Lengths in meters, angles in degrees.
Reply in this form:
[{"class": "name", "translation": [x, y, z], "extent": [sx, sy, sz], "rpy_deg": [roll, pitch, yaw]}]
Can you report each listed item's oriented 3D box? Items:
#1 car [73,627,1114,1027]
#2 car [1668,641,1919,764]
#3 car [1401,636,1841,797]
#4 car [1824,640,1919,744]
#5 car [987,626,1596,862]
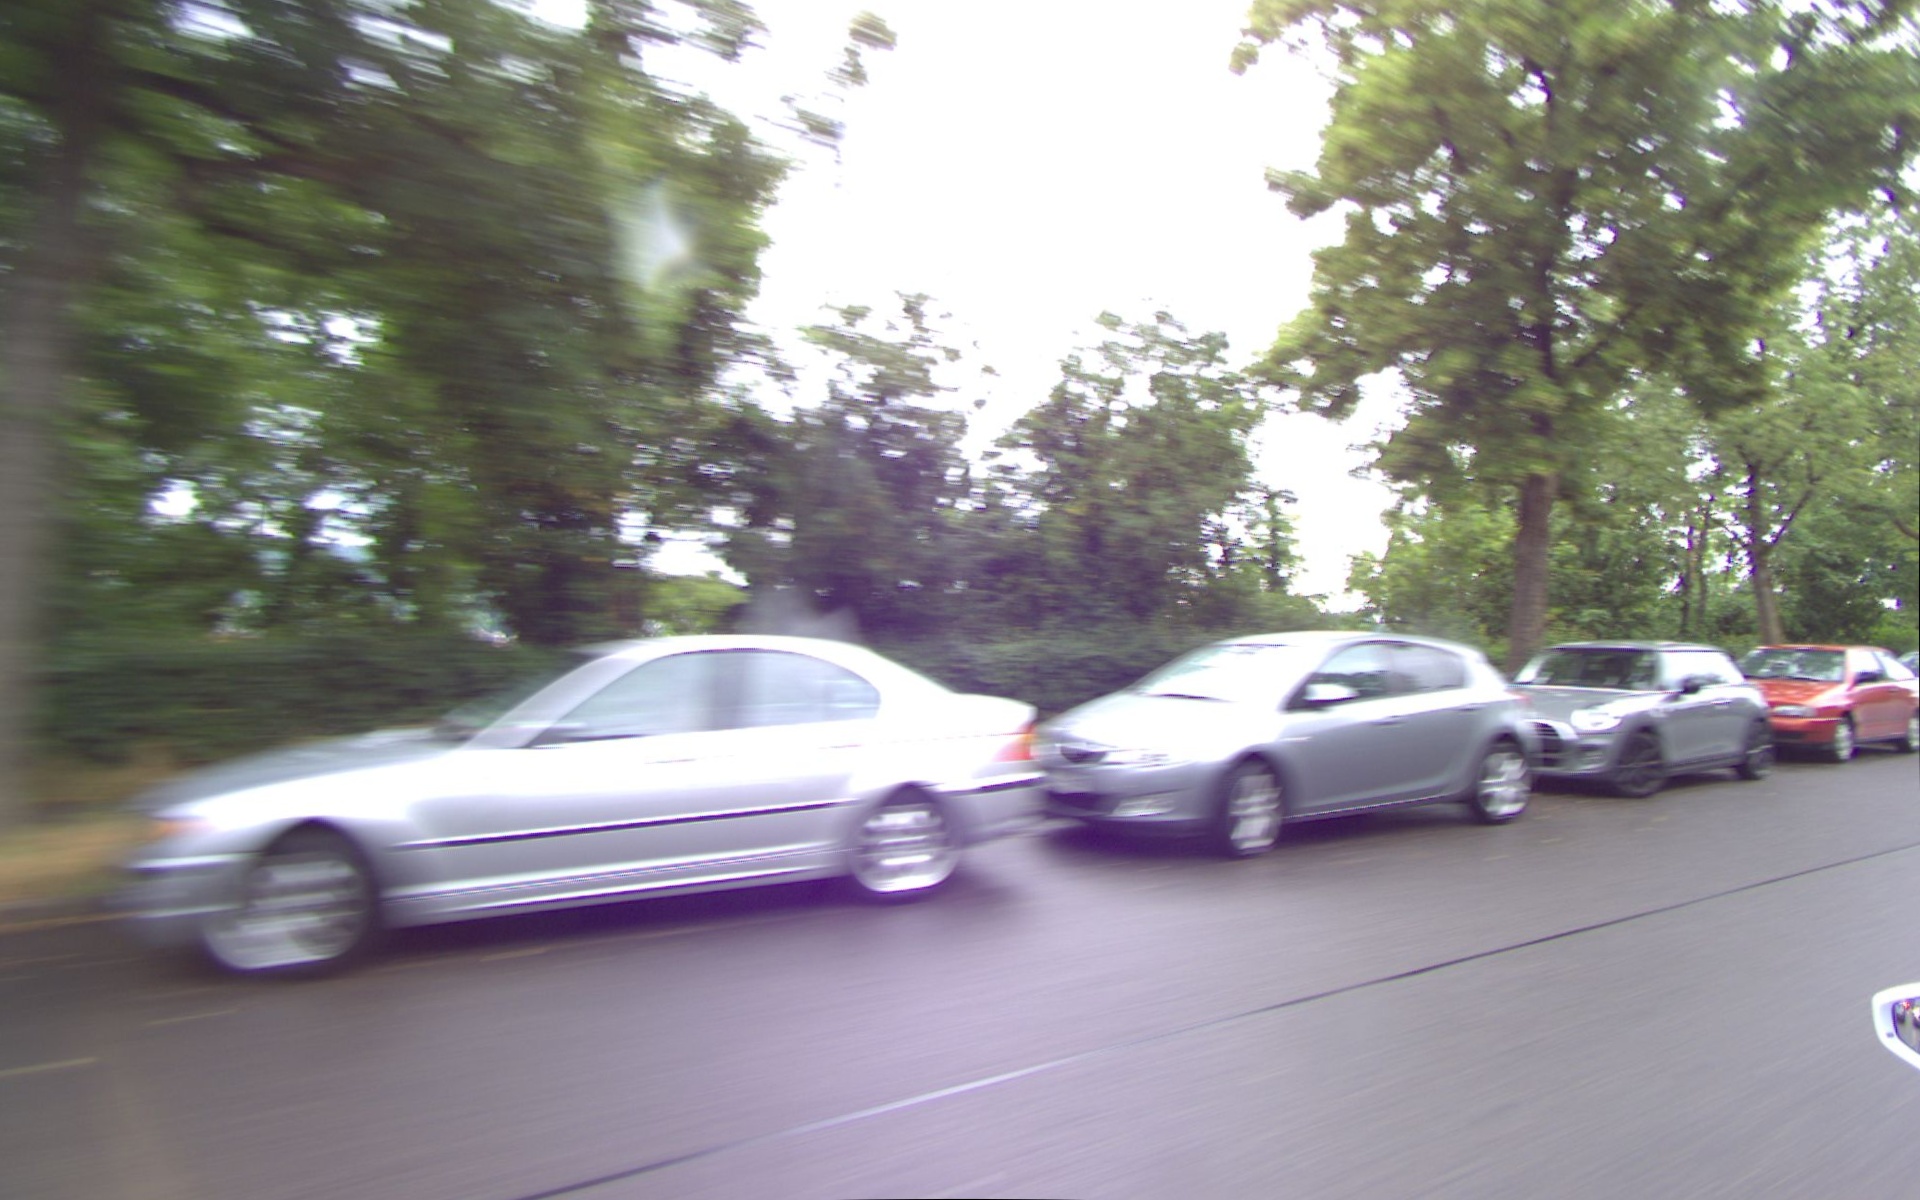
[{"class": "car", "translation": [-1.597, 0.908, 5.618], "extent": [4.657, 1.423, 1.985], "rpy_deg": [2, -3, -29]}, {"class": "car", "translation": [11.130, 1.273, 13.229], "extent": [3.958, 1.380, 1.586], "rpy_deg": [2, -2, -33]}, {"class": "car", "translation": [7.190, 1.145, 10.868], "extent": [4.655, 1.423, 1.986], "rpy_deg": [2, -3, -28]}, {"class": "car", "translation": [15.078, 1.360, 15.177], "extent": [4.367, 1.421, 1.746], "rpy_deg": [2, -2, -30]}, {"class": "car", "translation": [2.722, 0.988, 8.060], "extent": [4.655, 1.423, 1.986], "rpy_deg": [2, -3, -28]}]
